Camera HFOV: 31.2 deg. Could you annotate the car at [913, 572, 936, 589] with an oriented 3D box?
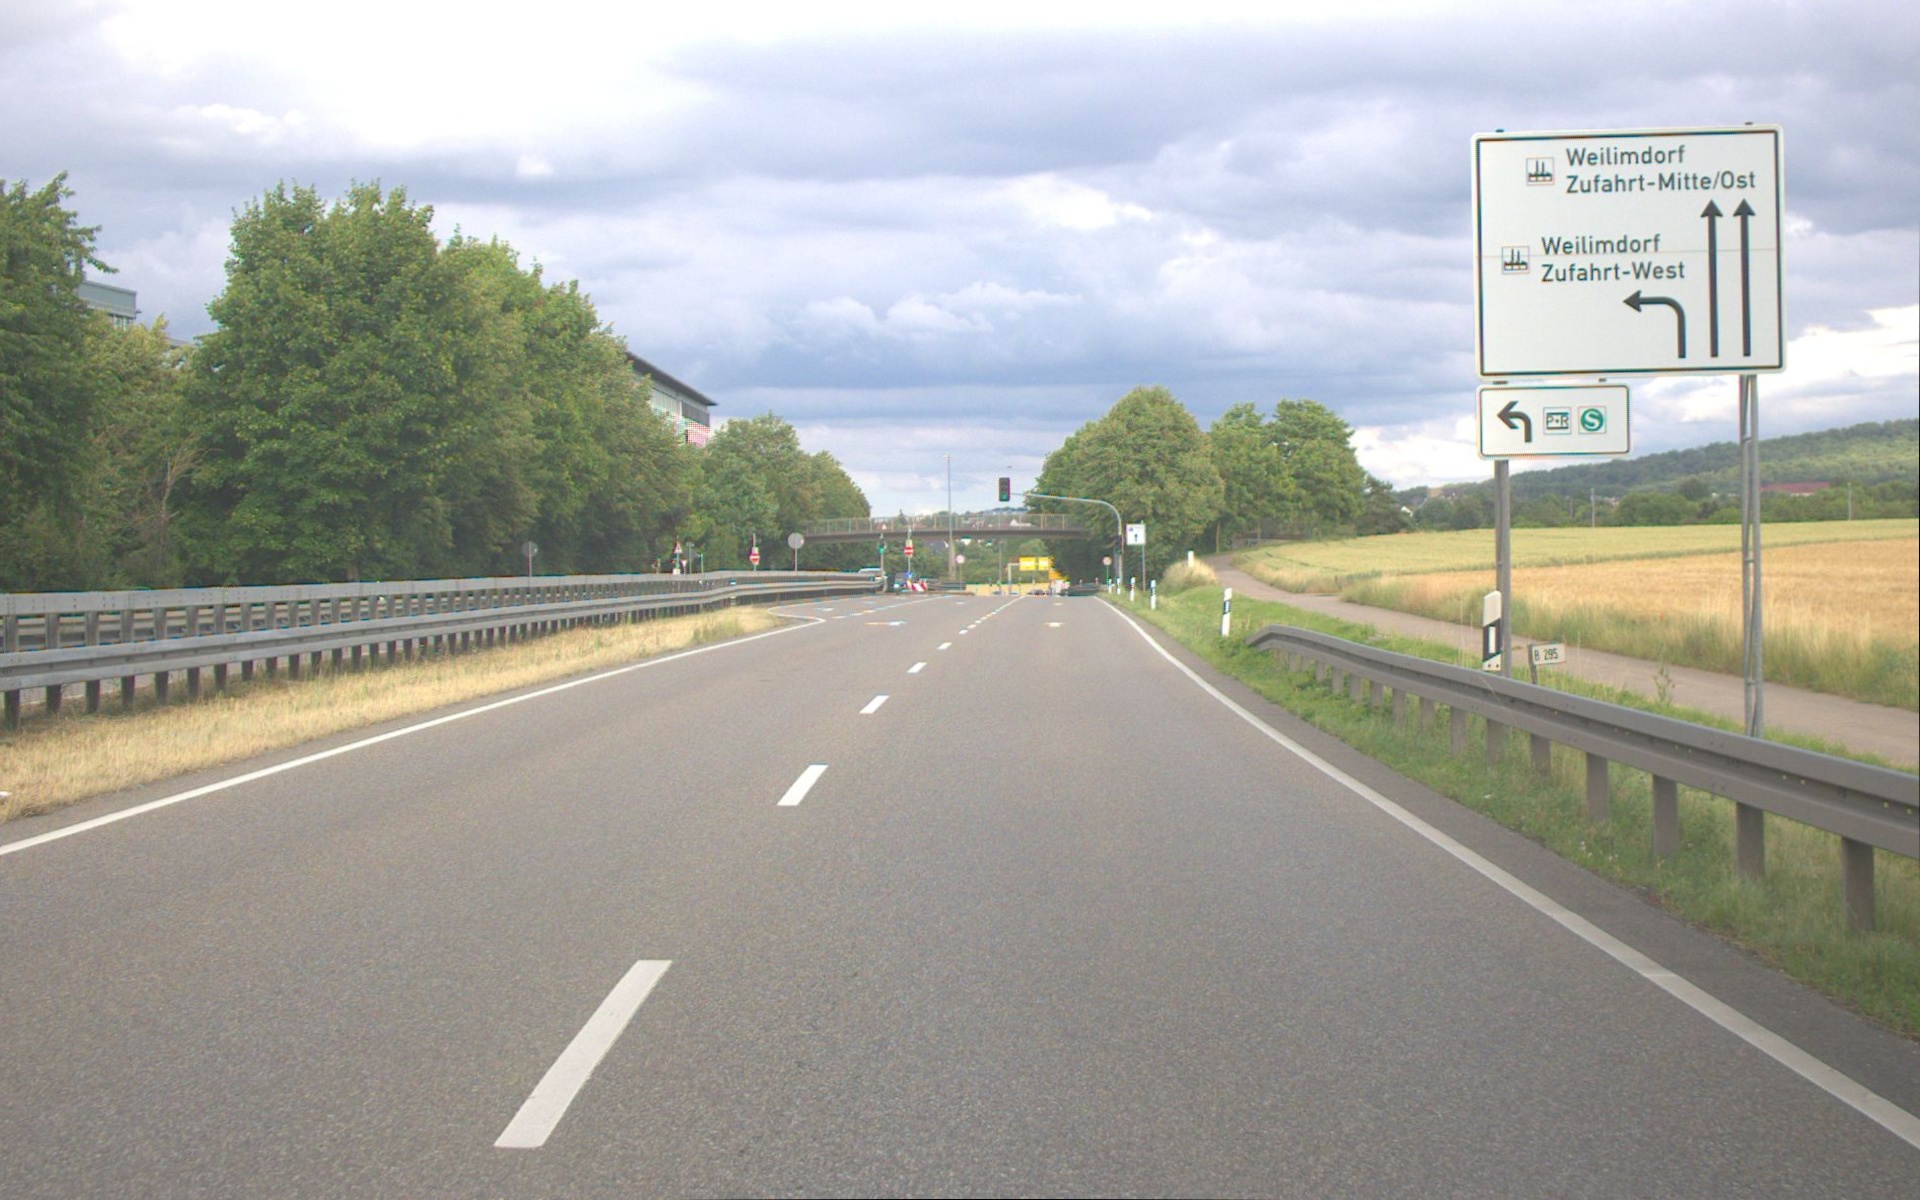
[{"bbox_3d":[-2.359,-1.278,227.474,1.358,1.088,2.921,0,1,3],"label":"car"}]
